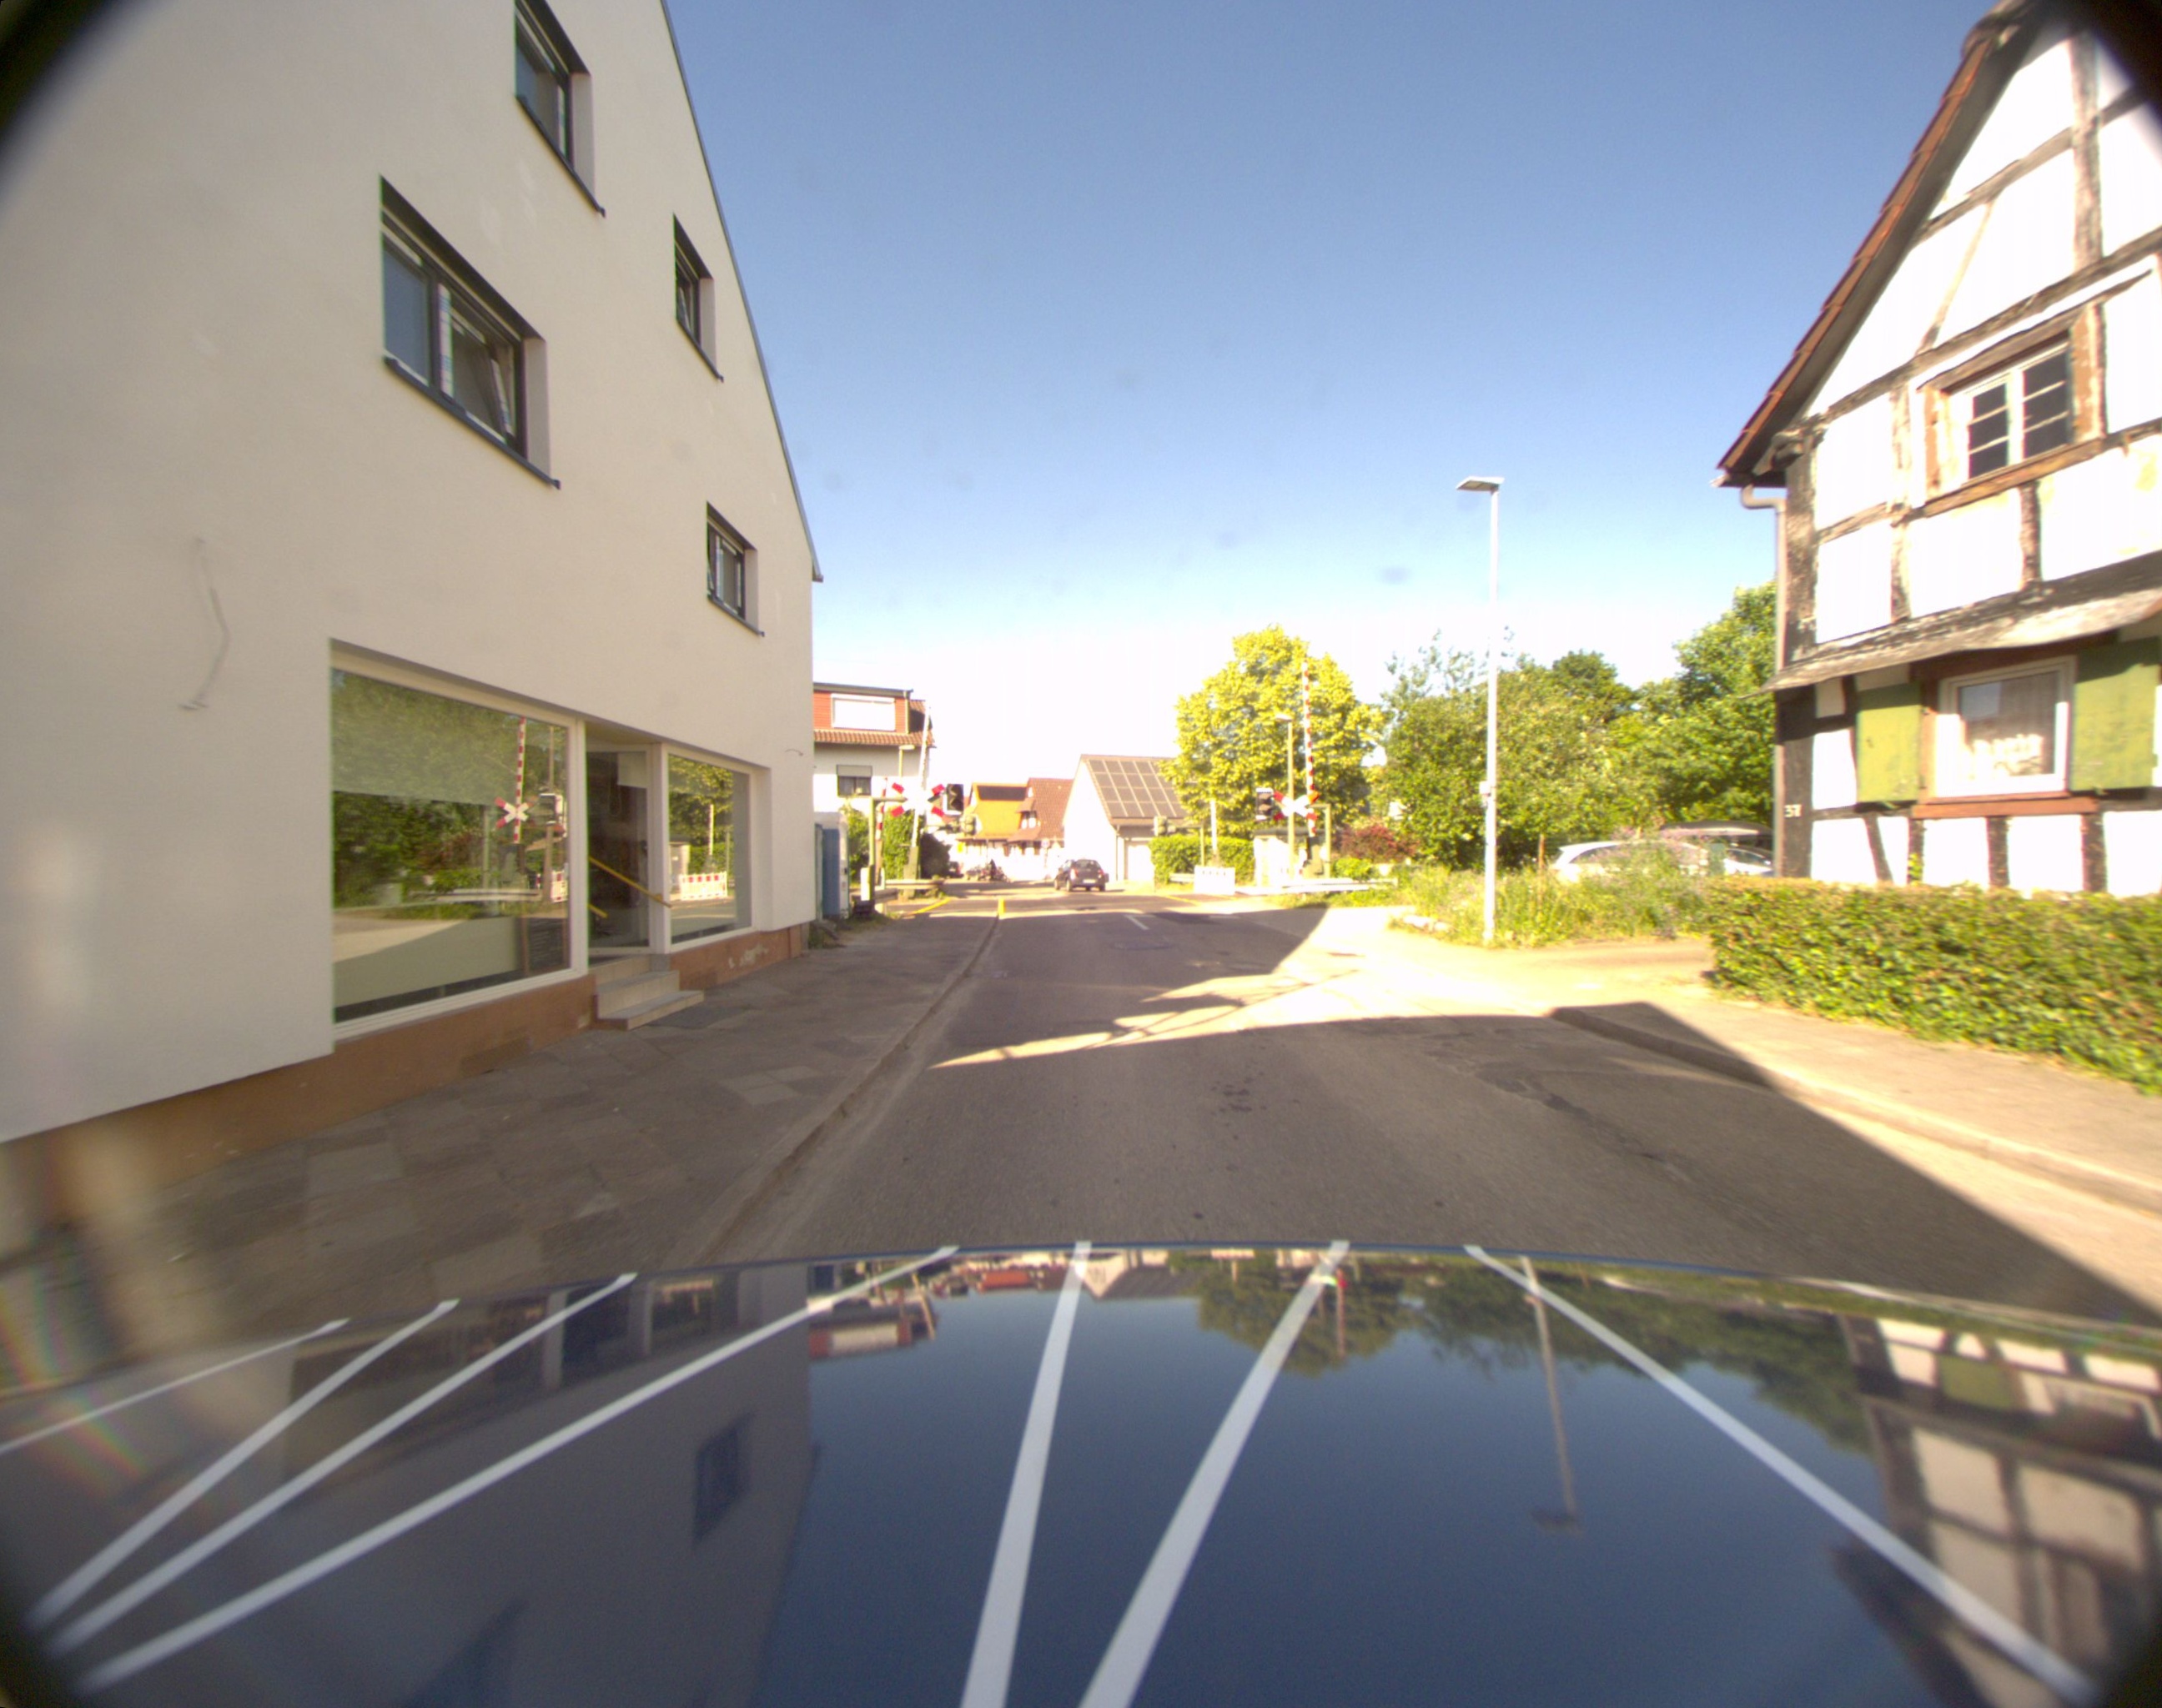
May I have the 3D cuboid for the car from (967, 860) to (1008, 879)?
[{"bbox_3d":[-7.379,1.194,59.393,1.853,1.398,5.026,0,0,-24],"label":"car"}]

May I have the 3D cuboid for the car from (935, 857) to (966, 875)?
[{"bbox_3d":[-12.021,1.085,69.754,1.792,1.595,4.352,-1,0,-24],"label":"car"}]

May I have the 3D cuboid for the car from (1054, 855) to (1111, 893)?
[{"bbox_3d":[-0.003,0.845,33.875,1.692,1.501,3.649,0,1,-14],"label":"car"}]

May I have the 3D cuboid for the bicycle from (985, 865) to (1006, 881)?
[{"bbox_3d":[-5.749,1.266,51.043,0.887,0.999,2.058,-1,2,-22],"label":"bicycle"}]

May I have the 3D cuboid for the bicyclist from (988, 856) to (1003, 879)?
[{"bbox_3d":[-5.755,0.900,50.981,0.851,1.532,0.871,-1,2,-19],"label":"bicyclist"}]

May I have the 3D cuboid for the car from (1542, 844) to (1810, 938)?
[{"bbox_3d":[11.616,0.660,15.012,3.989,1.555,1.692,-1,2,43],"label":"car"}]

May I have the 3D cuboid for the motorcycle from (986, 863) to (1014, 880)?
[{"bbox_3d":[-6.024,1.294,56.259,1.990,1.224,0.628,-1,0,21],"label":"motorcycle"}]
